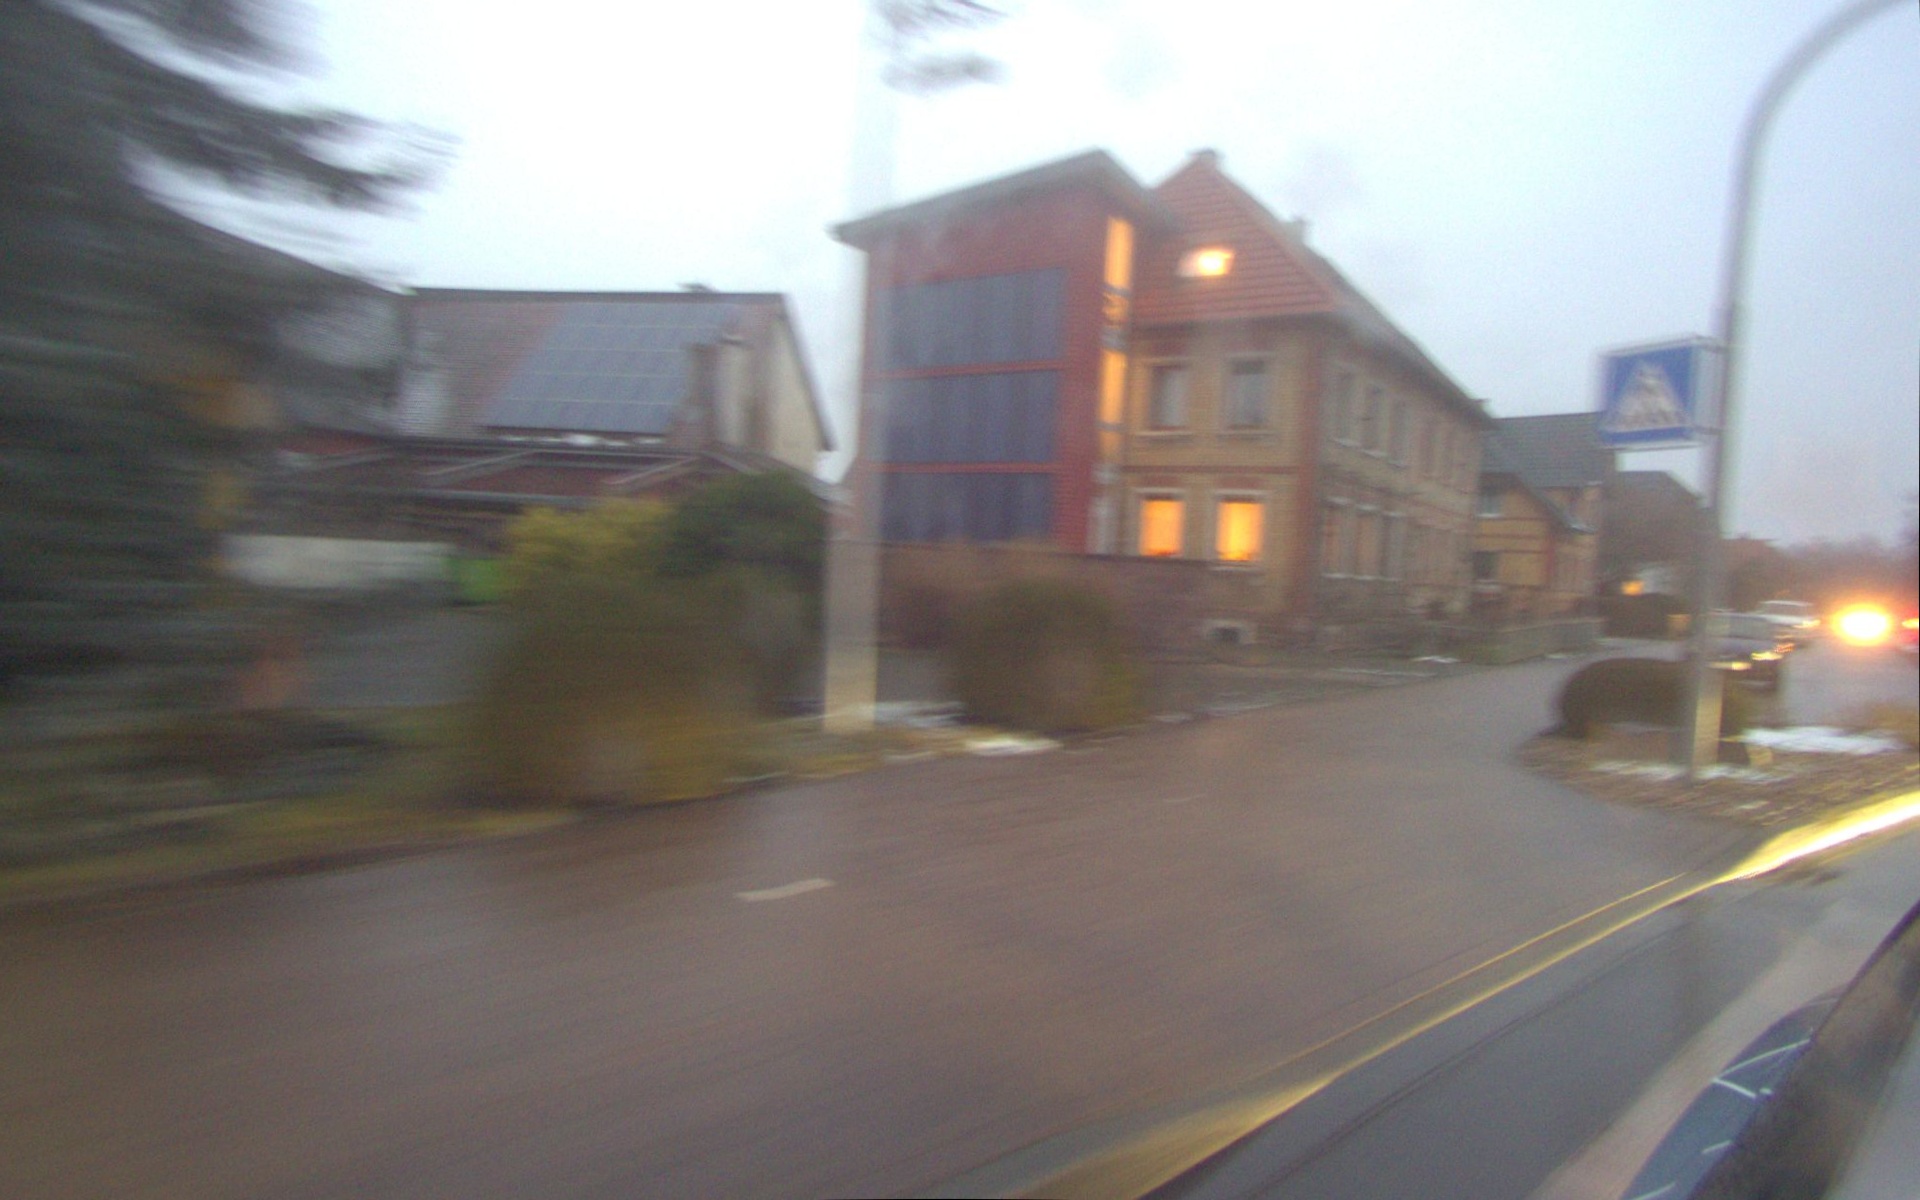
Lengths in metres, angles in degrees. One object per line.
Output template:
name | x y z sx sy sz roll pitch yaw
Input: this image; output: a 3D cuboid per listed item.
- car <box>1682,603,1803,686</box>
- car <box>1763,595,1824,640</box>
car | 16.075 0.852 20.729 1.770 1.448 3.741 3 1 40
car | 37.244 0.757 45.250 1.941 1.828 4.112 4 2 39
